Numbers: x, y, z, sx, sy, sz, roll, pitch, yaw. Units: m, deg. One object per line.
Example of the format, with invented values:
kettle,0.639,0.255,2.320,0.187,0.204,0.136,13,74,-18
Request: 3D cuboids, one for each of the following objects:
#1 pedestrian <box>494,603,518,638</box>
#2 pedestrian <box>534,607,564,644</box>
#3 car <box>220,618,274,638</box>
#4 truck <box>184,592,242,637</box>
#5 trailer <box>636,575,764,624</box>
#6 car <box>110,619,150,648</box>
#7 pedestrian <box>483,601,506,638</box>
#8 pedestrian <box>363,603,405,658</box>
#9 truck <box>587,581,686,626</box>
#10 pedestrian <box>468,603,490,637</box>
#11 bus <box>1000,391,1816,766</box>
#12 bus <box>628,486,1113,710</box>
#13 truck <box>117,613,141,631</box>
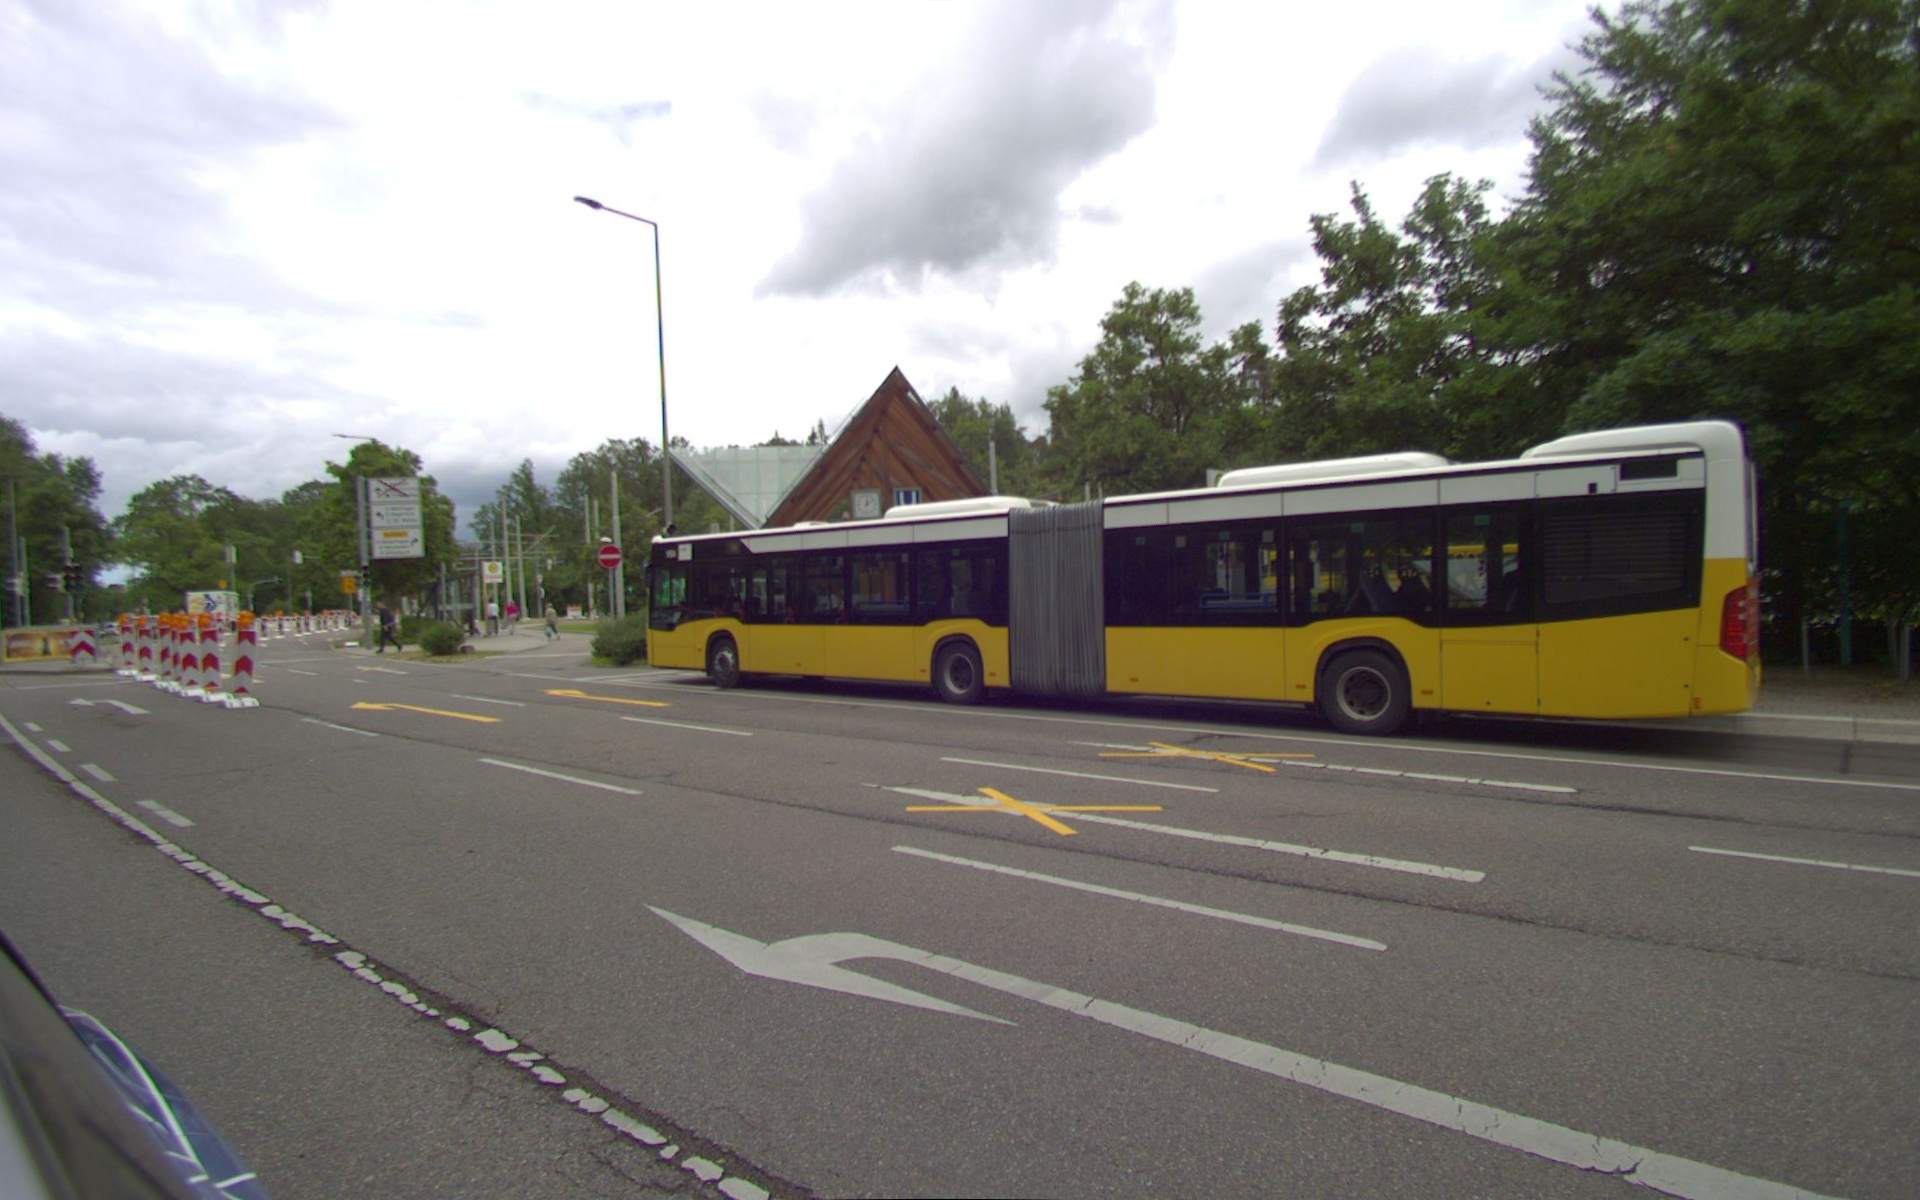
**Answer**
pedestrian,-20.967,0.961,46.740,0.779,1.563,0.777,-4,1,-38
pedestrian,-17.673,1.086,43.543,0.868,1.536,0.764,-3,1,16
car,-77.789,3.056,110.396,4.782,1.829,1.993,-3,1,11
truck,-56.579,1.070,76.796,2.592,3.263,6.226,0,-1,-28
trailer,-24.646,-0.022,95.811,11.790,3.910,3.761,-3,1,23
car,-48.609,1.934,59.238,1.785,1.520,4.315,0,0,-40
pedestrian,-21.979,0.930,47.807,0.675,1.678,0.872,-4,1,-41
pedestrian,-19.836,1.032,34.843,0.978,1.822,0.768,-3,1,-11
truck,-31.594,0.325,98.735,8.713,3.910,3.761,-3,1,23
pedestrian,-22.877,0.964,48.163,0.764,1.557,0.630,-4,2,-36
bus,4.795,-0.120,12.442,8.689,3.150,2.869,-1,0,41
bus,-2.150,0.039,18.525,9.754,3.150,2.869,-1,0,41
truck,-159.018,4.258,193.621,2.702,3.235,6.691,-4,1,-33
